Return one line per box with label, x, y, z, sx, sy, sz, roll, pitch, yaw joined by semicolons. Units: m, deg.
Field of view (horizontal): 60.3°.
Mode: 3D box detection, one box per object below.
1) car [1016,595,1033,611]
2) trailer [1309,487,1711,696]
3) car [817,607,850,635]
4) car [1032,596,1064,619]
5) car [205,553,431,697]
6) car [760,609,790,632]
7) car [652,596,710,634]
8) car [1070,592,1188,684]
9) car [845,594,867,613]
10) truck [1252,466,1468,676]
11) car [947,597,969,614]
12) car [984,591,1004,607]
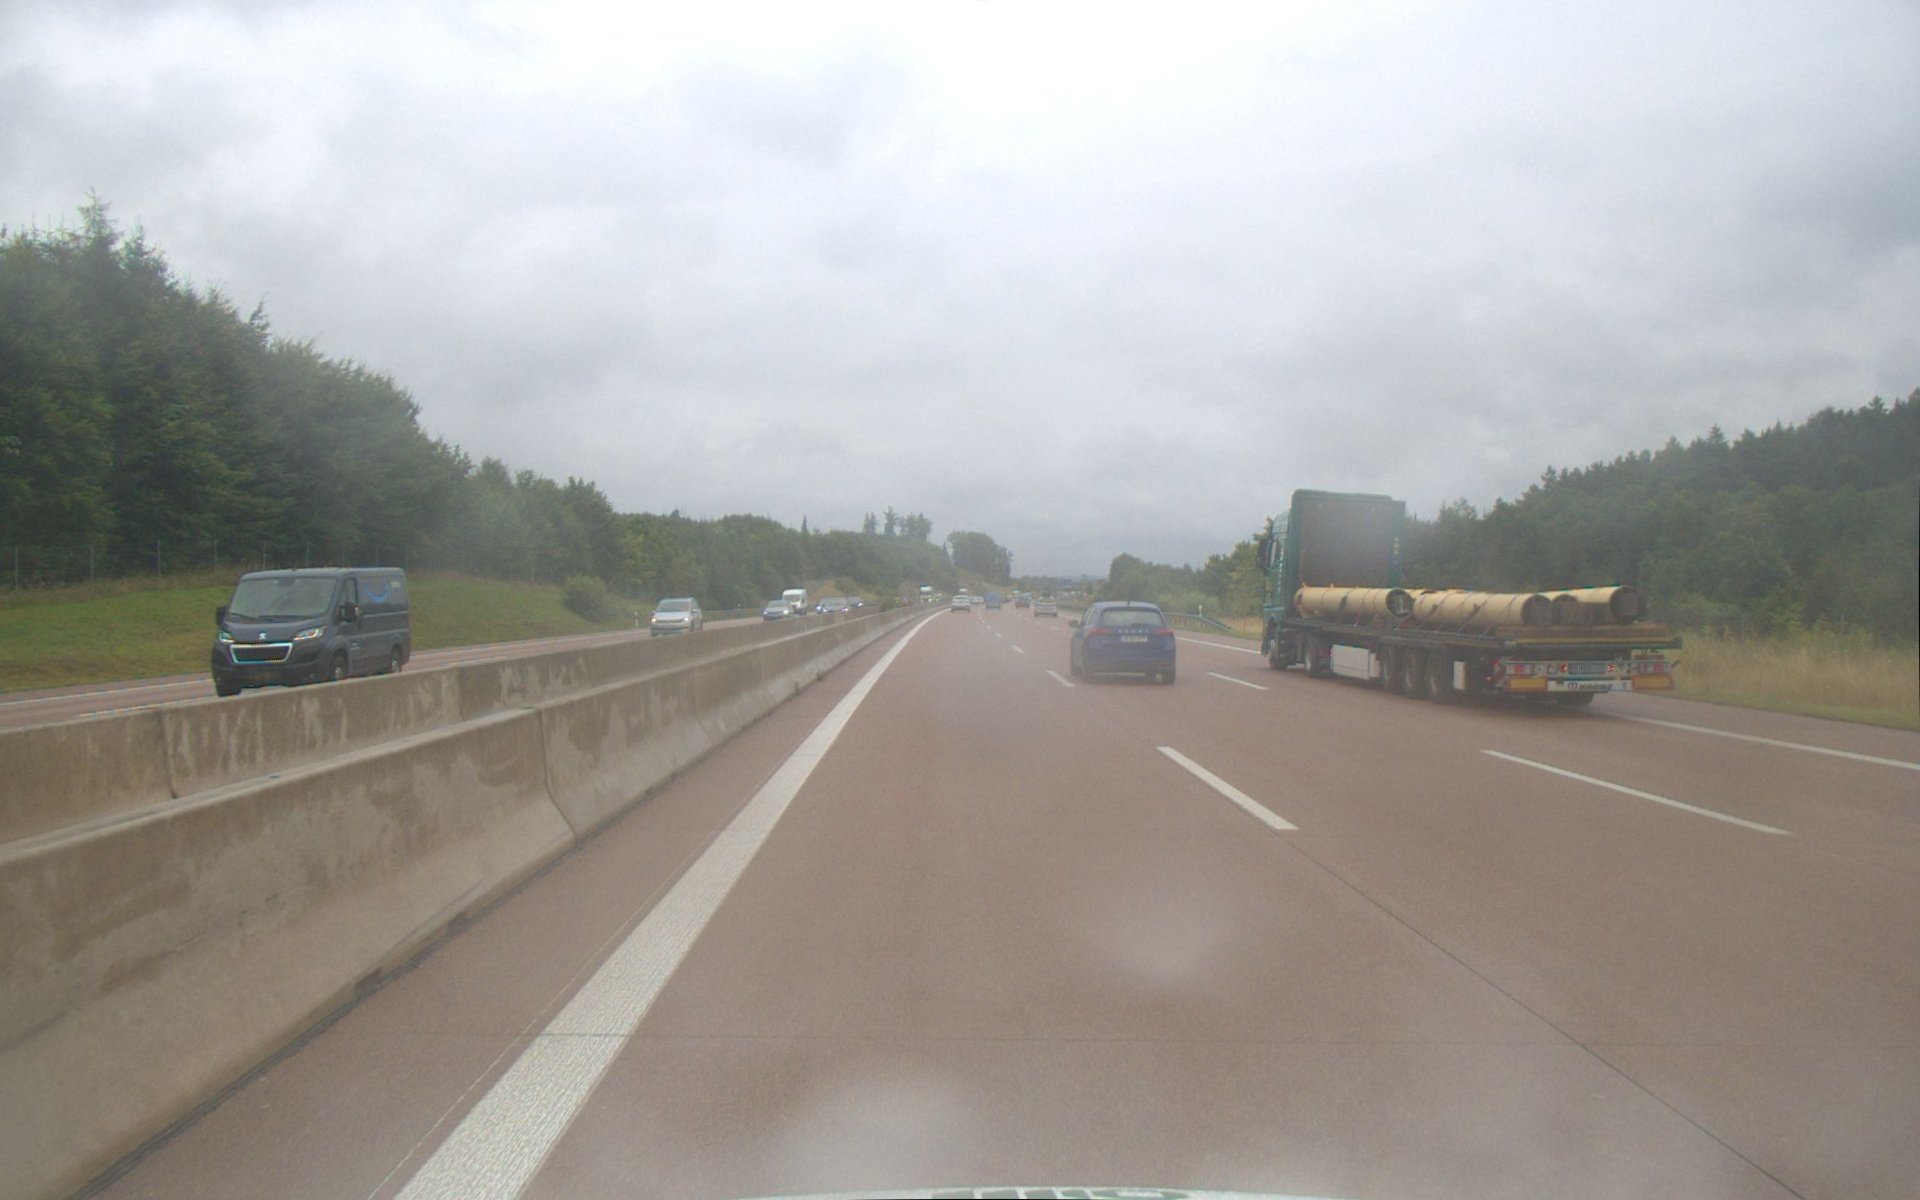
car;8.568;0.441;219.940;1.953;2.049;3.999;1;-1;-1
trailer;8.530;-0.010;27.727;2.822;2.722;11.395;1;-1;-1
car;-8.318;1.412;109.205;1.820;1.737;6.162;1;-1;-1
car;7.082;0.602;133.953;2.275;1.780;4.876;1;-1;-1
car;-11.451;0.461;29.979;2.060;2.319;5.393;1;-1;-2
car;-12.781;1.398;114.558;1.616;1.414;4.809;-3;0;-1
car;-12.186;0.632;72.580;1.752;1.584;4.864;-2;0;-1
car;3.131;0.703;31.342;1.735;1.591;4.145;1;-1;-1
car;-10.479;0.371;166.798;1.953;1.859;4.686;0;0;0
truck;8.428;-0.507;35.772;2.838;4.034;6.986;1;-1;-1
car;-0.198;0.524;157.727;1.836;1.470;4.873;1;-1;-3
car;4.106;-0.120;200.201;2.275;1.780;4.876;1;-1;-1
